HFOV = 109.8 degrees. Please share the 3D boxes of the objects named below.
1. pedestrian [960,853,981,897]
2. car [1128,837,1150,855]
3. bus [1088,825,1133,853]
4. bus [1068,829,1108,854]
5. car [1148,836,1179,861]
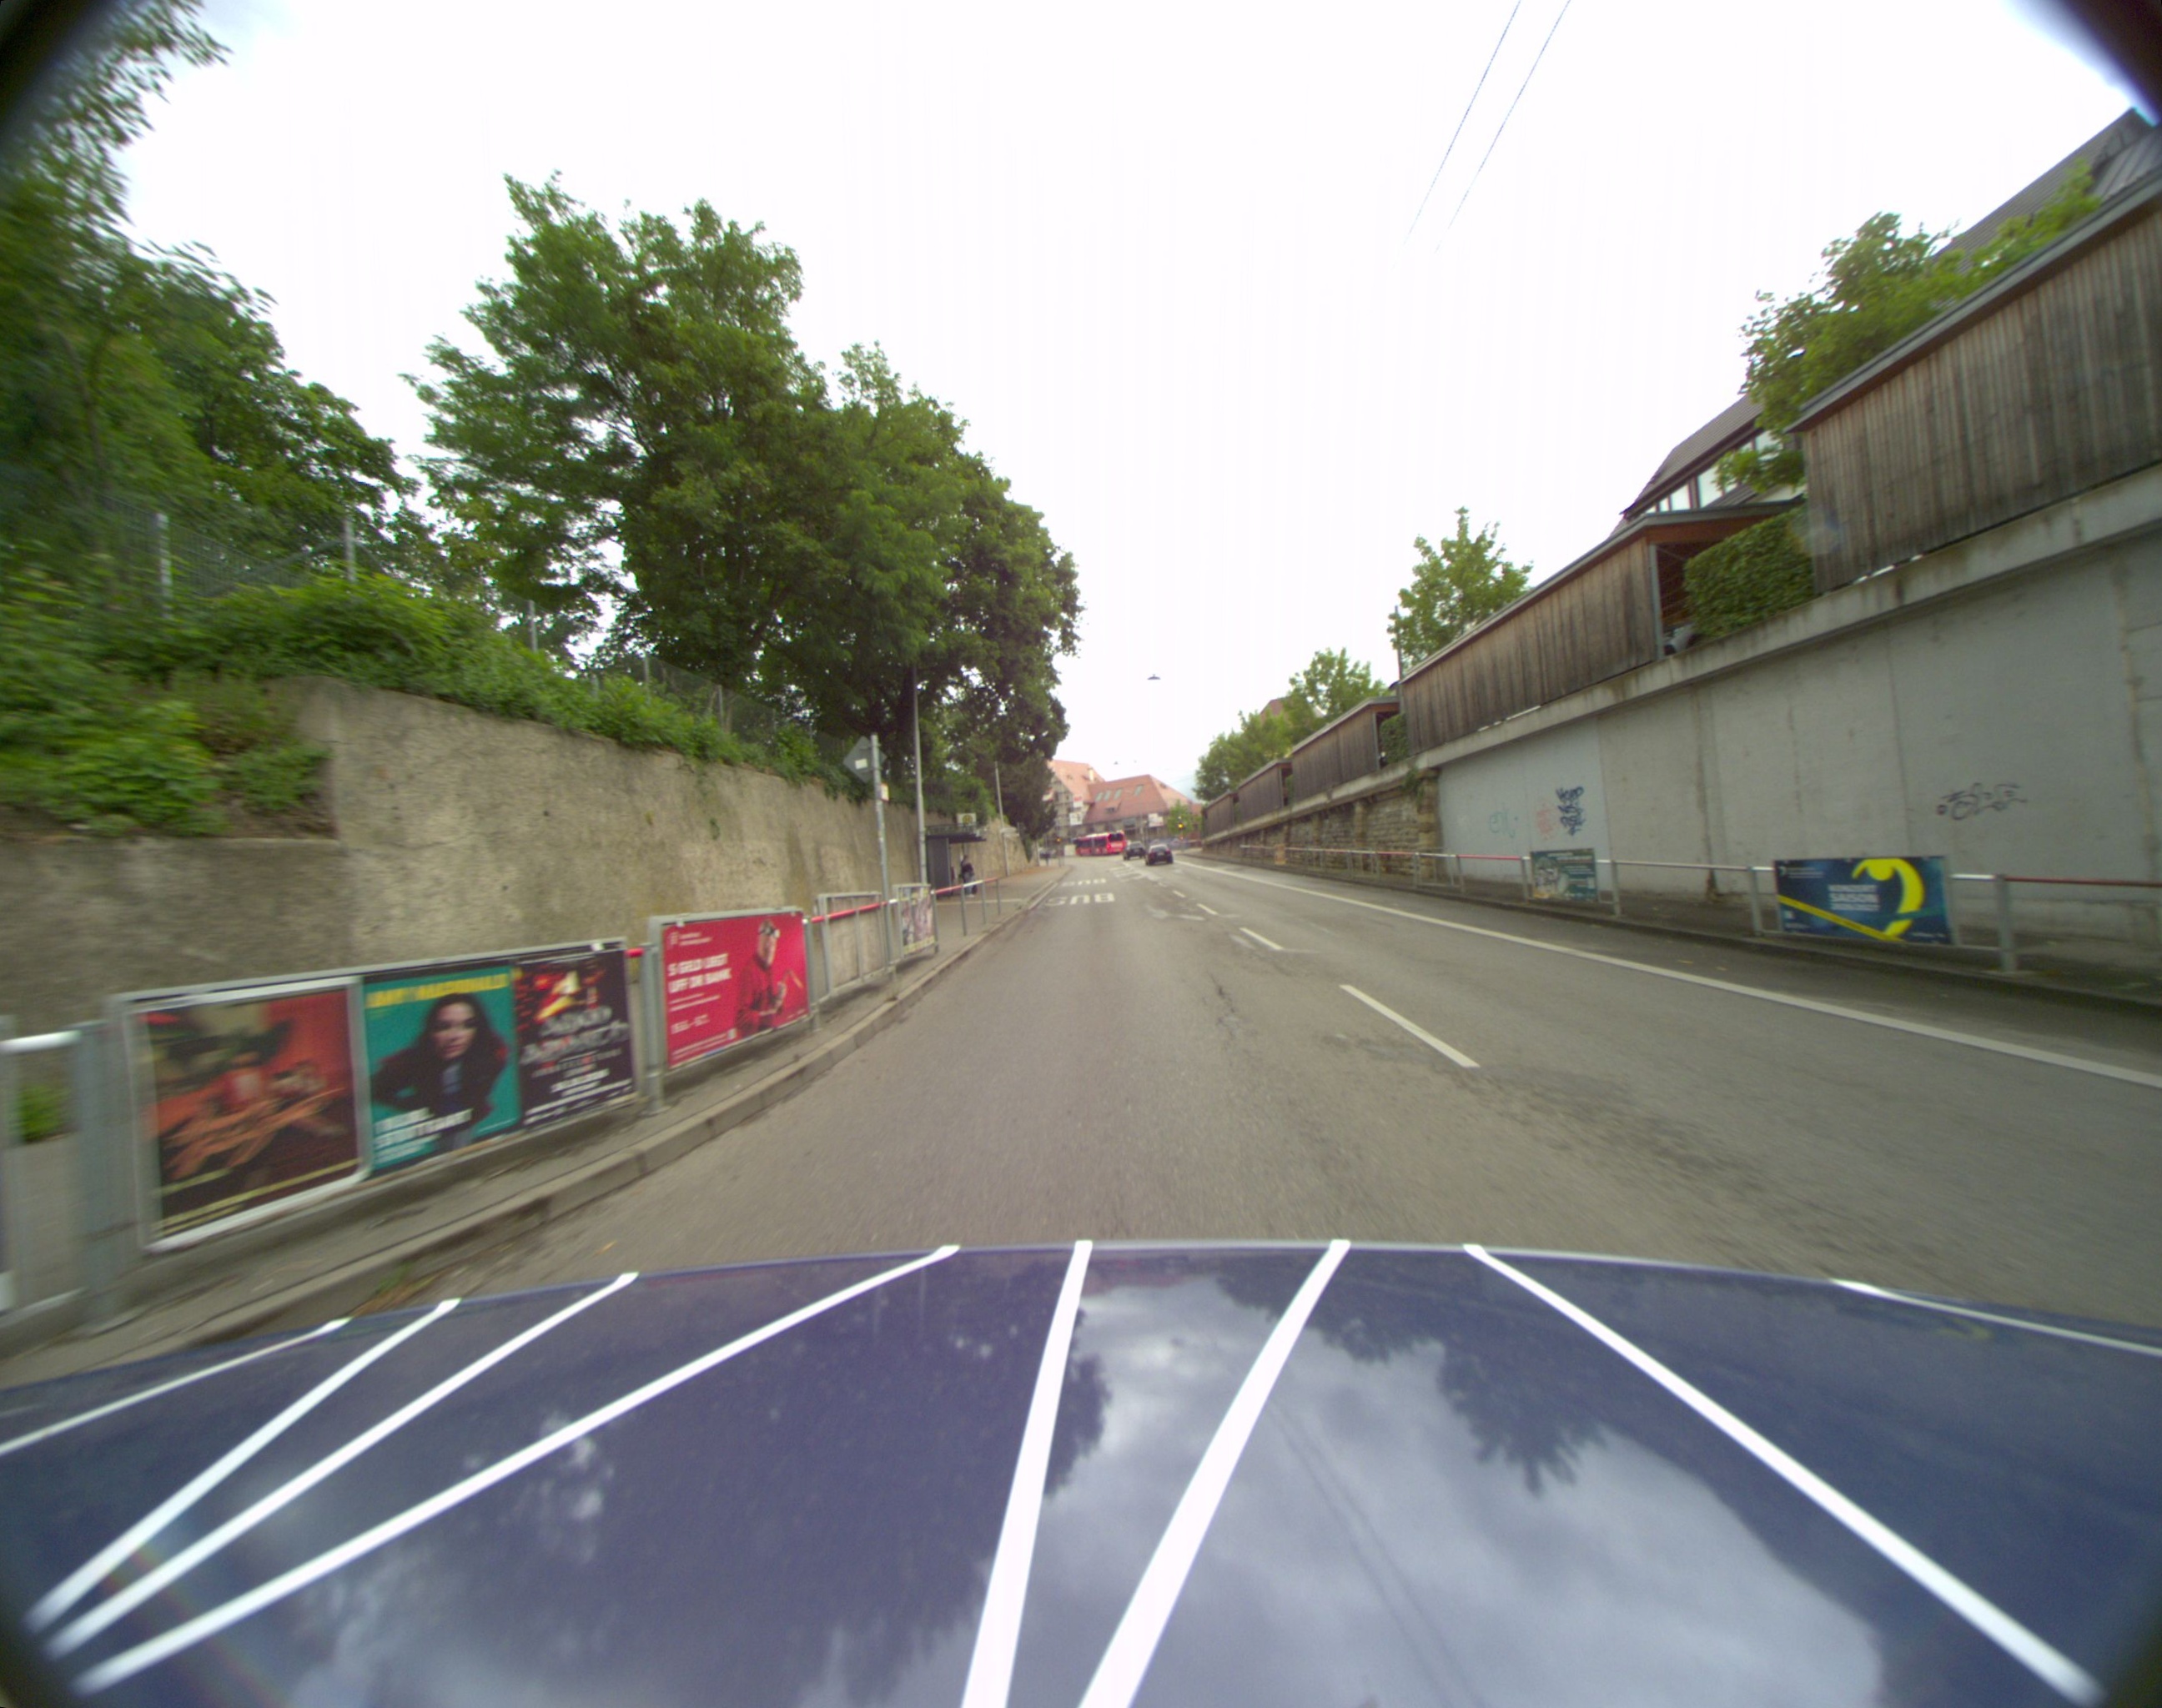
[{"bbox_3d":[-4.220,0.807,29.031,0.719,1.630,0.740,-2,1,-8],"label":"pedestrian"},{"bbox_3d":[5.833,-0.844,76.826,1.855,1.706,3.880,-2,1,1],"label":"car"},{"bbox_3d":[4.117,-2.076,108.139,2.915,3.616,9.468,-2,1,-20],"label":"bus"},{"bbox_3d":[1.008,-1.894,117.018,2.915,3.616,9.468,-2,1,-20],"label":"bus"},{"bbox_3d":[6.052,-0.421,56.037,1.855,1.706,3.880,-2,1,1],"label":"car"}]
